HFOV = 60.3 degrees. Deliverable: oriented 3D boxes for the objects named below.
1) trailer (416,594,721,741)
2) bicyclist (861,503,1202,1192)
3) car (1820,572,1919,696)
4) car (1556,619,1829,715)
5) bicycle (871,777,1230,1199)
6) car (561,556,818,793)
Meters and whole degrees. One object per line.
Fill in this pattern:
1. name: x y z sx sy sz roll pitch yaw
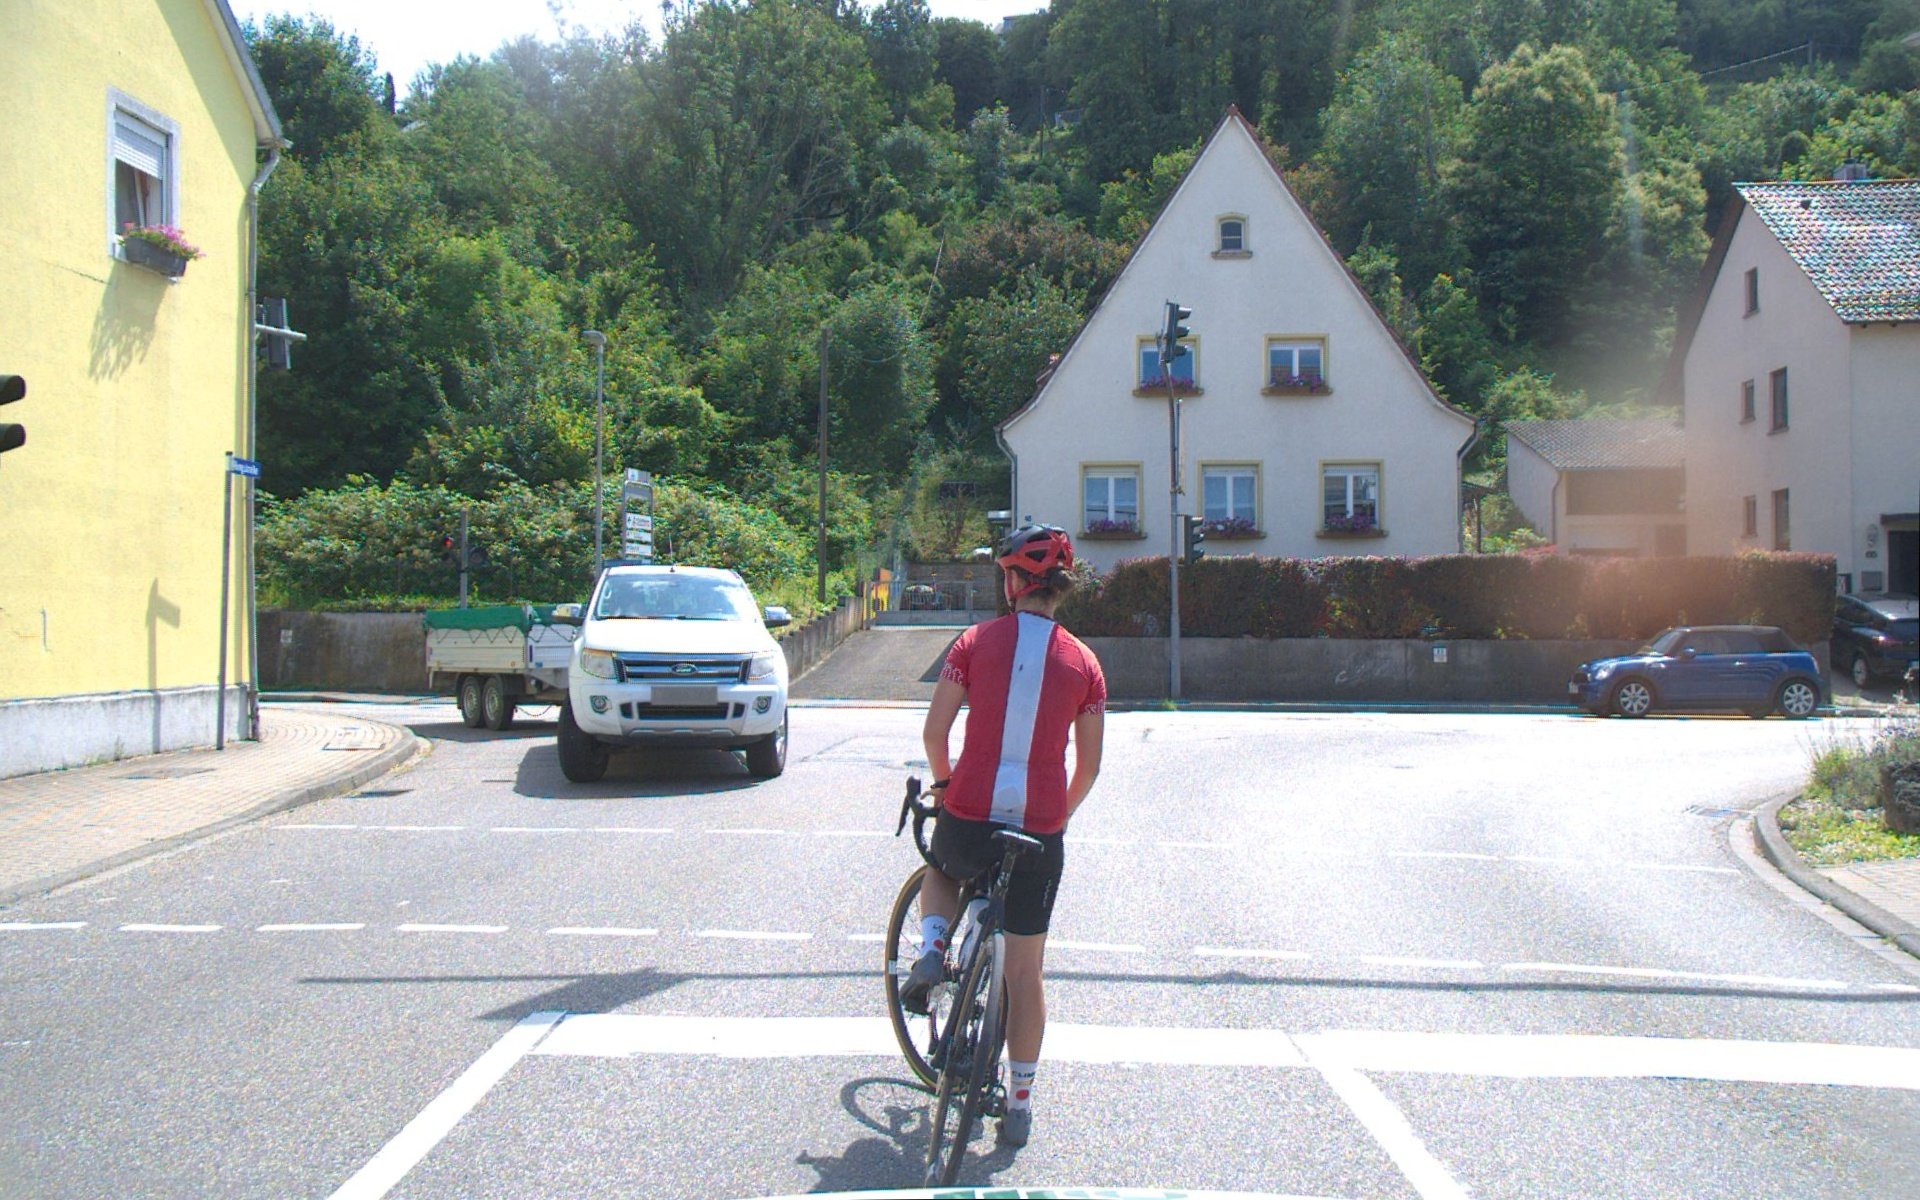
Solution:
1. trailer: -4.888 0.755 20.226 1.959 1.566 4.383 -1 0 -39
2. bicyclist: 0.161 0.617 4.564 0.747 1.693 0.867 1 0 -9
3. car: 17.321 0.579 30.762 1.758 1.411 3.696 0 13 19
4. car: 11.314 1.053 25.733 3.533 1.387 1.645 1 -3 3
5. bicycle: 0.162 1.029 4.481 0.618 0.920 1.653 1 0 -9
6. car: -2.732 0.580 15.594 1.939 1.807 5.294 -1 0 -14
